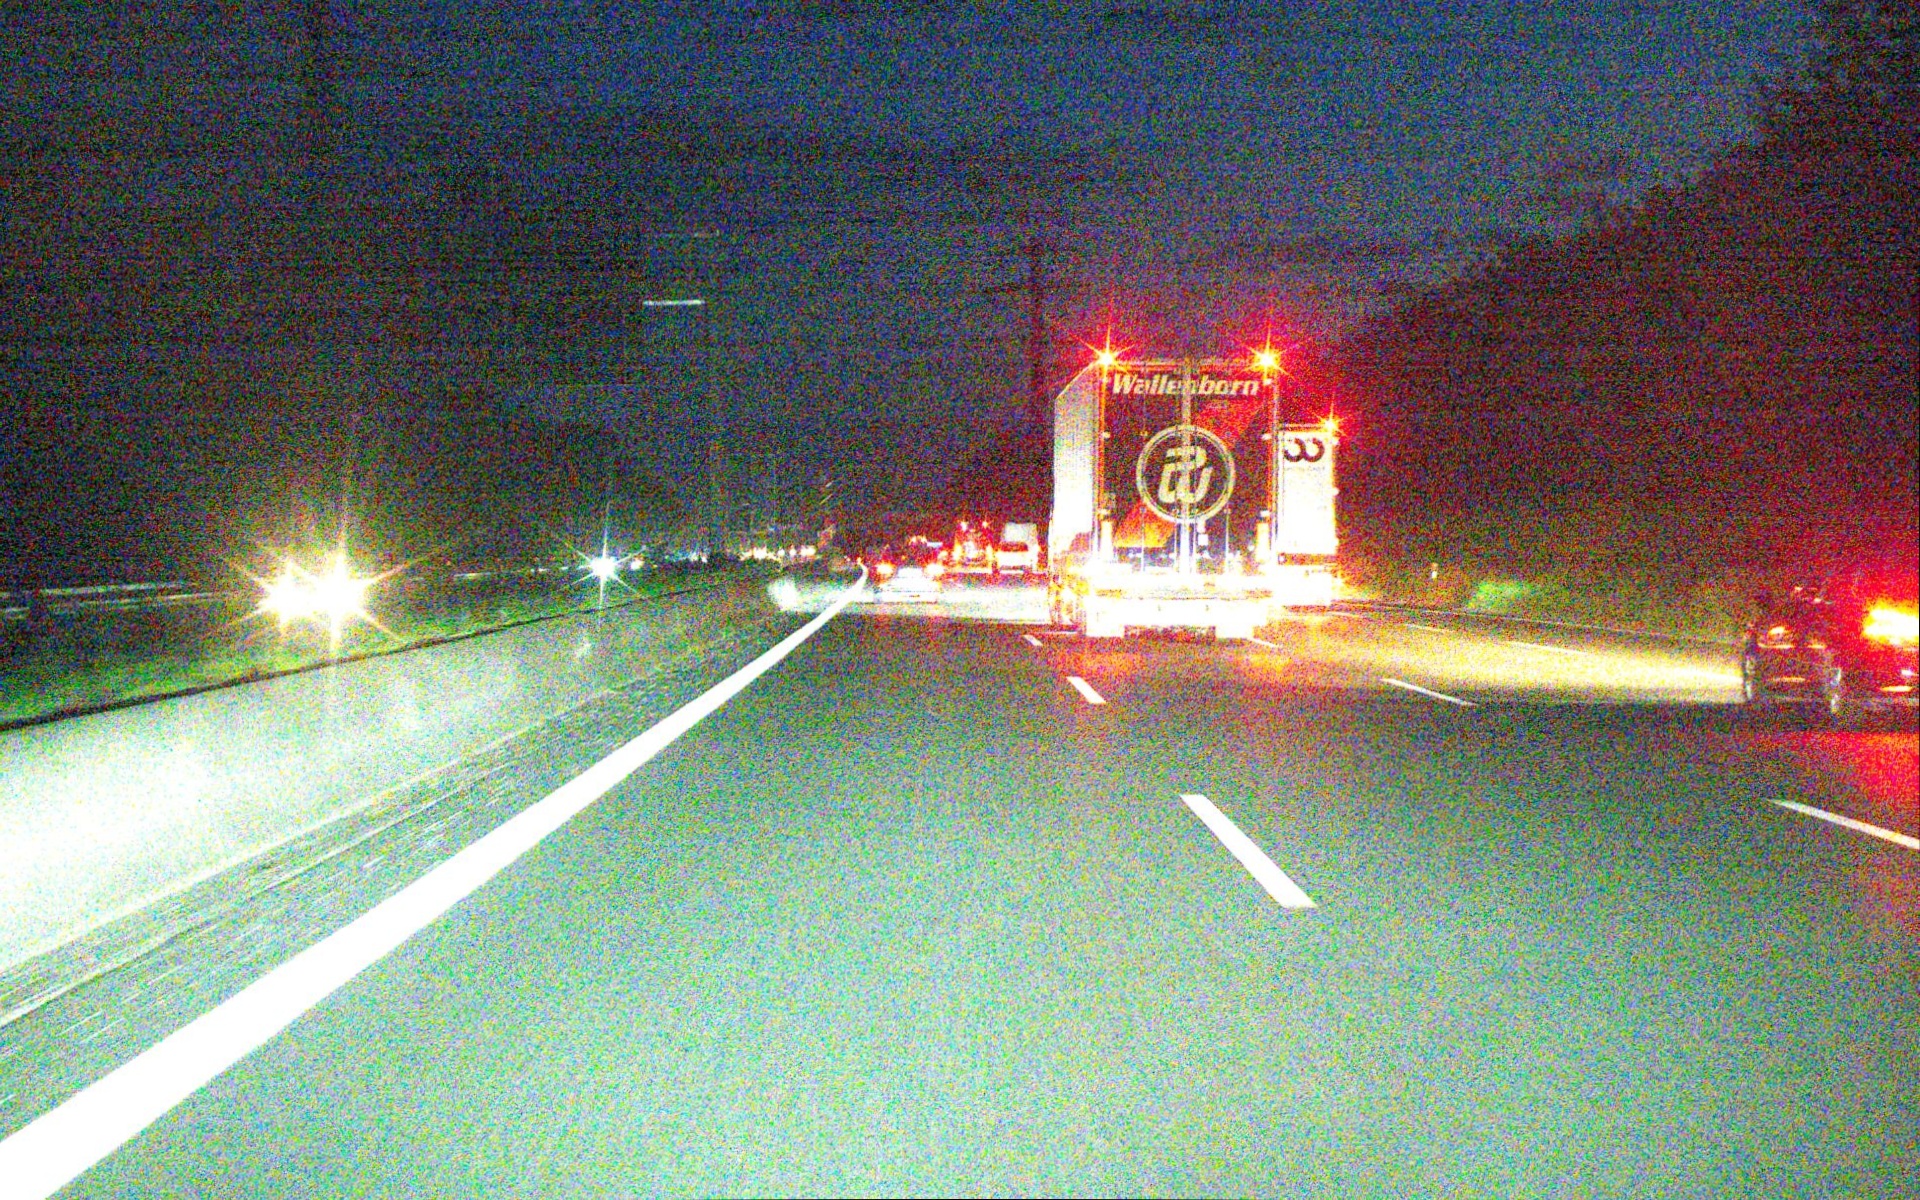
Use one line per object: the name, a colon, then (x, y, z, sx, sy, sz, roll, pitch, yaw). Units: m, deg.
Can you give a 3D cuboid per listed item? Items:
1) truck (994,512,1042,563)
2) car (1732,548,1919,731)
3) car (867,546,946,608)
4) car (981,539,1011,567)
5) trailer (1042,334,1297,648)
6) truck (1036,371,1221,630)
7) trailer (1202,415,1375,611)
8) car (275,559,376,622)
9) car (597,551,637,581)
truck: (3.303, -3.544, 196.331, 2.076, 2.682, 7.309, 1, 0, -4)
car: (8.116, 0.297, 29.769, 1.821, 1.461, 4.248, 1, 1, -1)
car: (-1.338, -0.582, 84.016, 1.821, 1.461, 4.248, 1, 1, -2)
car: (1.806, -2.354, 172.988, 1.346, 1.382, 3.502, 1, 1, -2)
trailer: (2.984, -1.571, 53.038, 2.742, 4.192, 13.511, 1, 1, -1)
truck: (2.818, -1.676, 59.400, 2.661, 4.192, 6.723, 1, 1, -1)
trailer: (7.189, -1.887, 76.525, 2.591, 4.058, 10.009, 1, 1, -1)
car: (-16.397, -0.264, 89.029, 1.821, 1.461, 4.560, -4, 1, -2)
car: (-18.367, -1.824, 184.161, 1.750, 1.473, 4.943, -2, 1, -1)
